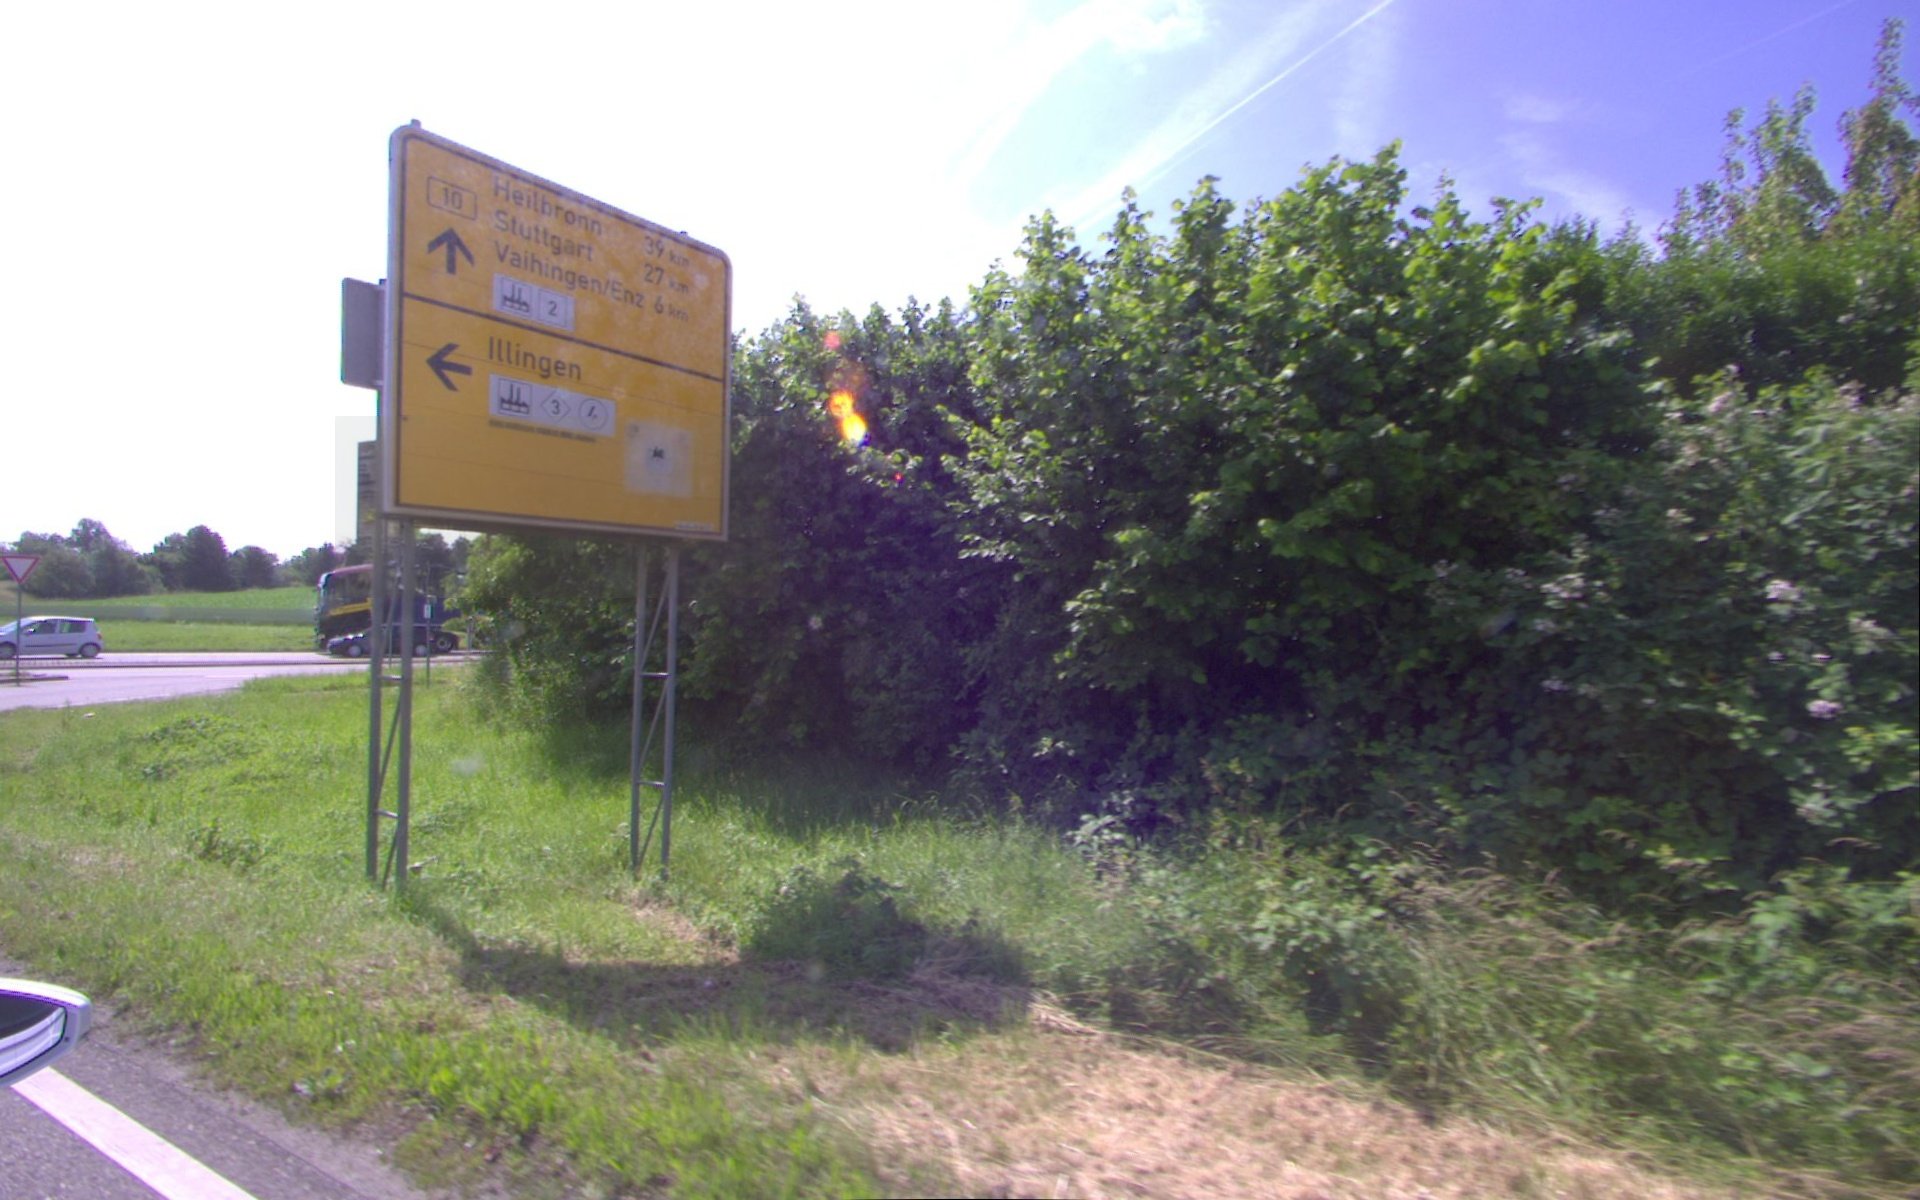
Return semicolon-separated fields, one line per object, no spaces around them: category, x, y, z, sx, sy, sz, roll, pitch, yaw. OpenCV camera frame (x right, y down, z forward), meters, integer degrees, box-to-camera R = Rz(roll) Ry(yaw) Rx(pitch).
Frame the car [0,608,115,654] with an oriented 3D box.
car;-34.723;1.174;37.907;1.734;1.654;3.825;-1;-2;28

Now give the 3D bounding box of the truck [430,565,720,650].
truck;-20.211;0.580;53.562;14.147;4.031;3.007;2;-1;-35

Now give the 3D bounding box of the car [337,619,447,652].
car;-24.553;1.539;43.316;3.952;1.326;1.754;1;-2;-37

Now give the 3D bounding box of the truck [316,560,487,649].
truck;-27.073;0.324;48.665;6.871;4.046;3.005;2;-1;-37
